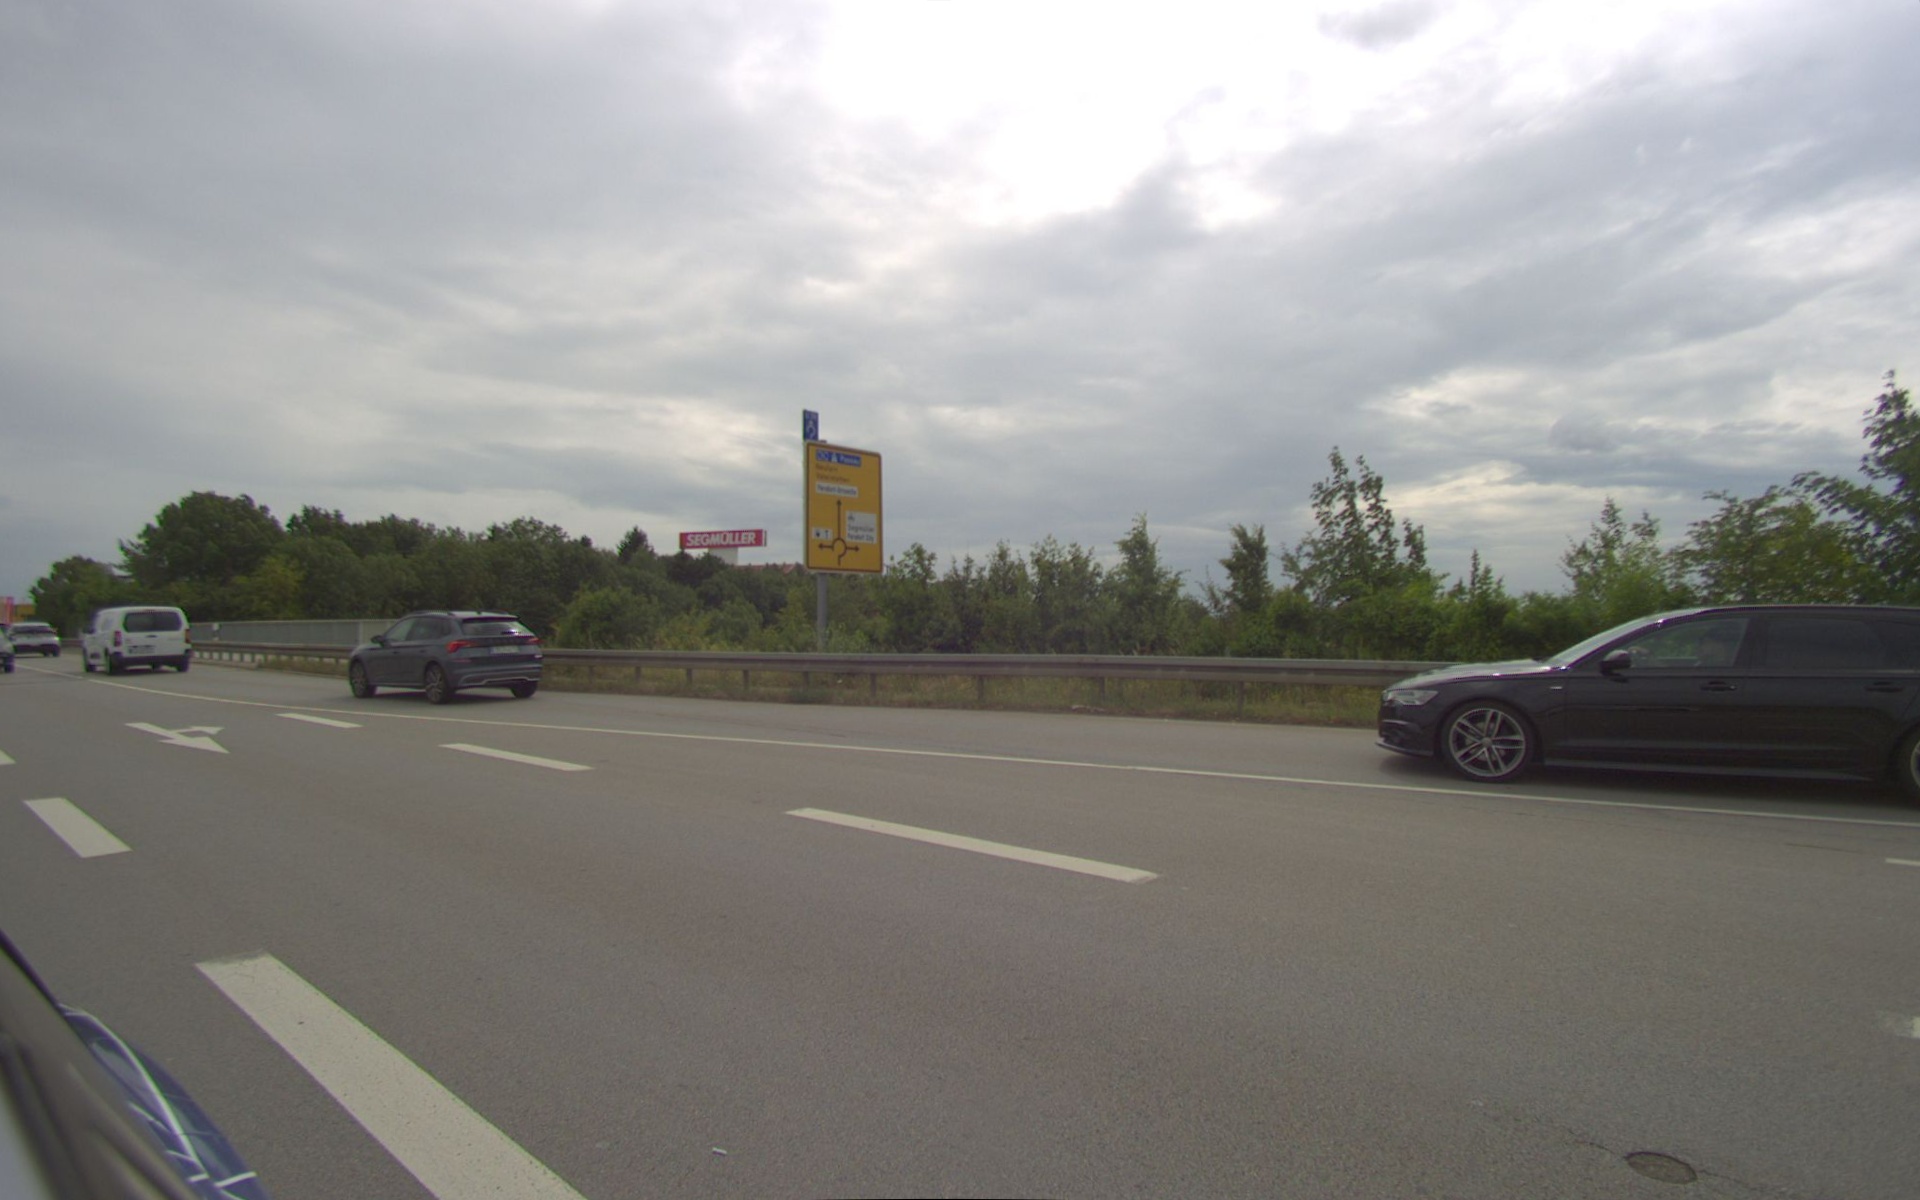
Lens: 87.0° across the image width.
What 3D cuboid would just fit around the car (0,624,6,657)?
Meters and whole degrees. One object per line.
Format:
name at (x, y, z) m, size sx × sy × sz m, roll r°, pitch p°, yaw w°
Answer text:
car at (-52.894, 2.177, 54.381) m, size 4.760 × 1.745 × 1.972 m, roll -1°, pitch -1°, yaw 42°

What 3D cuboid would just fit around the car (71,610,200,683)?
car at (-23.352, 1.275, 28.614) m, size 4.816 × 1.889 × 1.934 m, roll -1°, pitch -2°, yaw 40°

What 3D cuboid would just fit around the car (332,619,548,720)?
car at (-9.145, 1.134, 17.677) m, size 4.135 × 1.569 × 1.569 m, roll -1°, pitch -1°, yaw 34°

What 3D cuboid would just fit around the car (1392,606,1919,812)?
car at (6.110, 0.764, 8.036) m, size 4.765 × 1.379 × 1.796 m, roll -1°, pitch -2°, yaw 29°

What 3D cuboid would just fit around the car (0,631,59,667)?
car at (-41.059, 2.128, 44.445) m, size 4.277 × 1.498 × 1.694 m, roll -1°, pitch -2°, yaw 41°

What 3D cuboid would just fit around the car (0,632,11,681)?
car at (-28.941, 1.649, 29.468) m, size 3.822 × 1.364 × 1.559 m, roll -2°, pitch -2°, yaw 41°
